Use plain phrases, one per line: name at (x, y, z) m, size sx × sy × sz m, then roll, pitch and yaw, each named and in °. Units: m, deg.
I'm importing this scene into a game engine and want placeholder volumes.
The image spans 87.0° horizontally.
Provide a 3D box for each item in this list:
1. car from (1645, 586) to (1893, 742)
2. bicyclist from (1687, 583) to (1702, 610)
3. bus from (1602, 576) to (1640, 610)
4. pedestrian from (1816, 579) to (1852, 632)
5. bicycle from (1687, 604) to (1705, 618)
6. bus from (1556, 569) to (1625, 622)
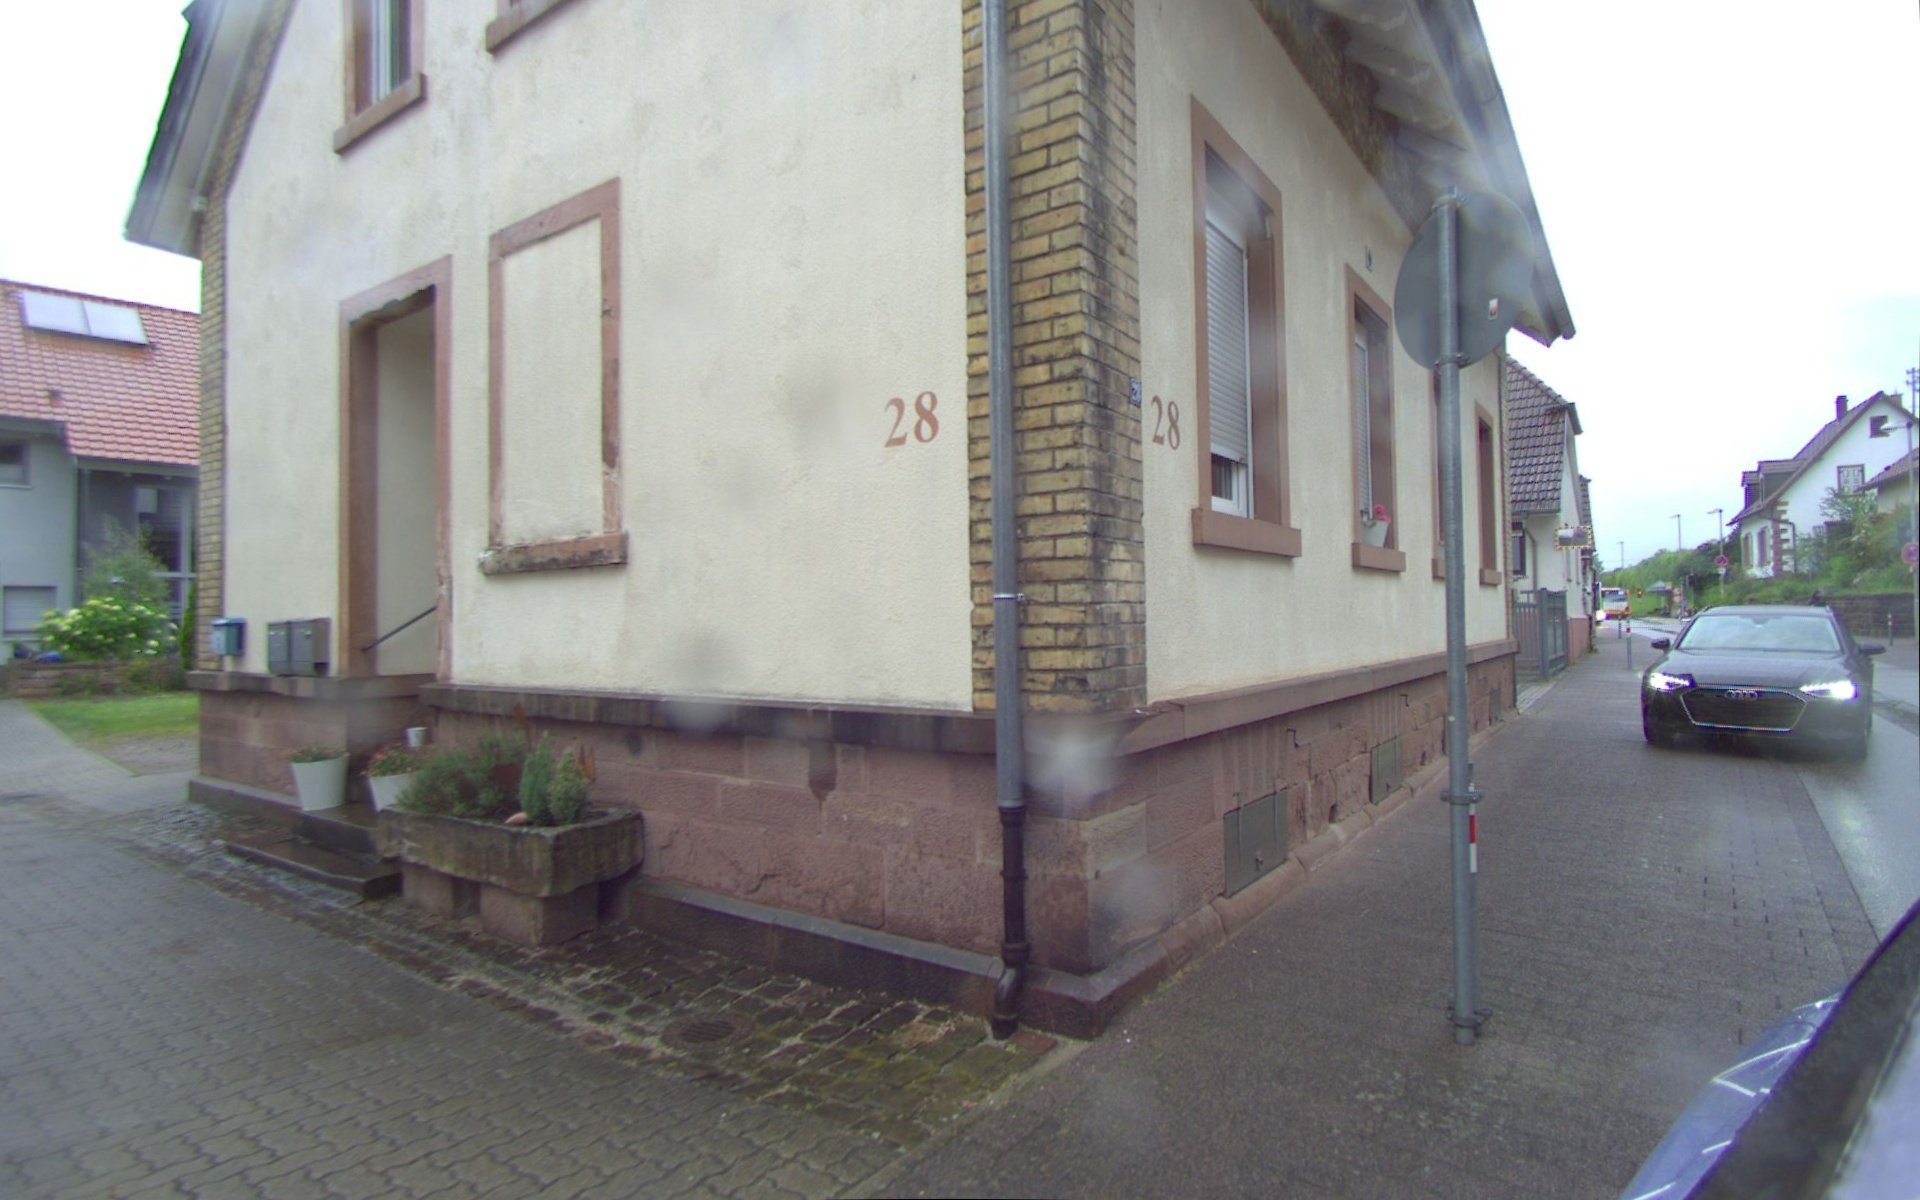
car at (8.889, 0.603, 11.081) m, size 1.773 × 1.374 × 4.125 m, roll -3°, pitch -2°, yaw 41°
bicyclist at (51.560, -0.242, 71.069) m, size 0.652 × 1.793 × 0.696 m, roll -3°, pitch -4°, yaw 27°
bus at (64.717, -0.656, 99.223) m, size 2.794 × 2.977 × 11.800 m, roll -3°, pitch -2°, yaw 33°
pedestrian at (29.380, 0.192, 34.039) m, size 0.690 × 1.755 × 0.813 m, roll -2°, pitch -1°, yaw 29°
bicycle at (51.614, 0.788, 71.017) m, size 0.657 × 0.882 × 1.916 m, roll -3°, pitch -4°, yaw 27°
bus at (45.780, -0.308, 73.908) m, size 3.412 × 3.455 × 13.729 m, roll -2°, pitch -1°, yaw 29°
